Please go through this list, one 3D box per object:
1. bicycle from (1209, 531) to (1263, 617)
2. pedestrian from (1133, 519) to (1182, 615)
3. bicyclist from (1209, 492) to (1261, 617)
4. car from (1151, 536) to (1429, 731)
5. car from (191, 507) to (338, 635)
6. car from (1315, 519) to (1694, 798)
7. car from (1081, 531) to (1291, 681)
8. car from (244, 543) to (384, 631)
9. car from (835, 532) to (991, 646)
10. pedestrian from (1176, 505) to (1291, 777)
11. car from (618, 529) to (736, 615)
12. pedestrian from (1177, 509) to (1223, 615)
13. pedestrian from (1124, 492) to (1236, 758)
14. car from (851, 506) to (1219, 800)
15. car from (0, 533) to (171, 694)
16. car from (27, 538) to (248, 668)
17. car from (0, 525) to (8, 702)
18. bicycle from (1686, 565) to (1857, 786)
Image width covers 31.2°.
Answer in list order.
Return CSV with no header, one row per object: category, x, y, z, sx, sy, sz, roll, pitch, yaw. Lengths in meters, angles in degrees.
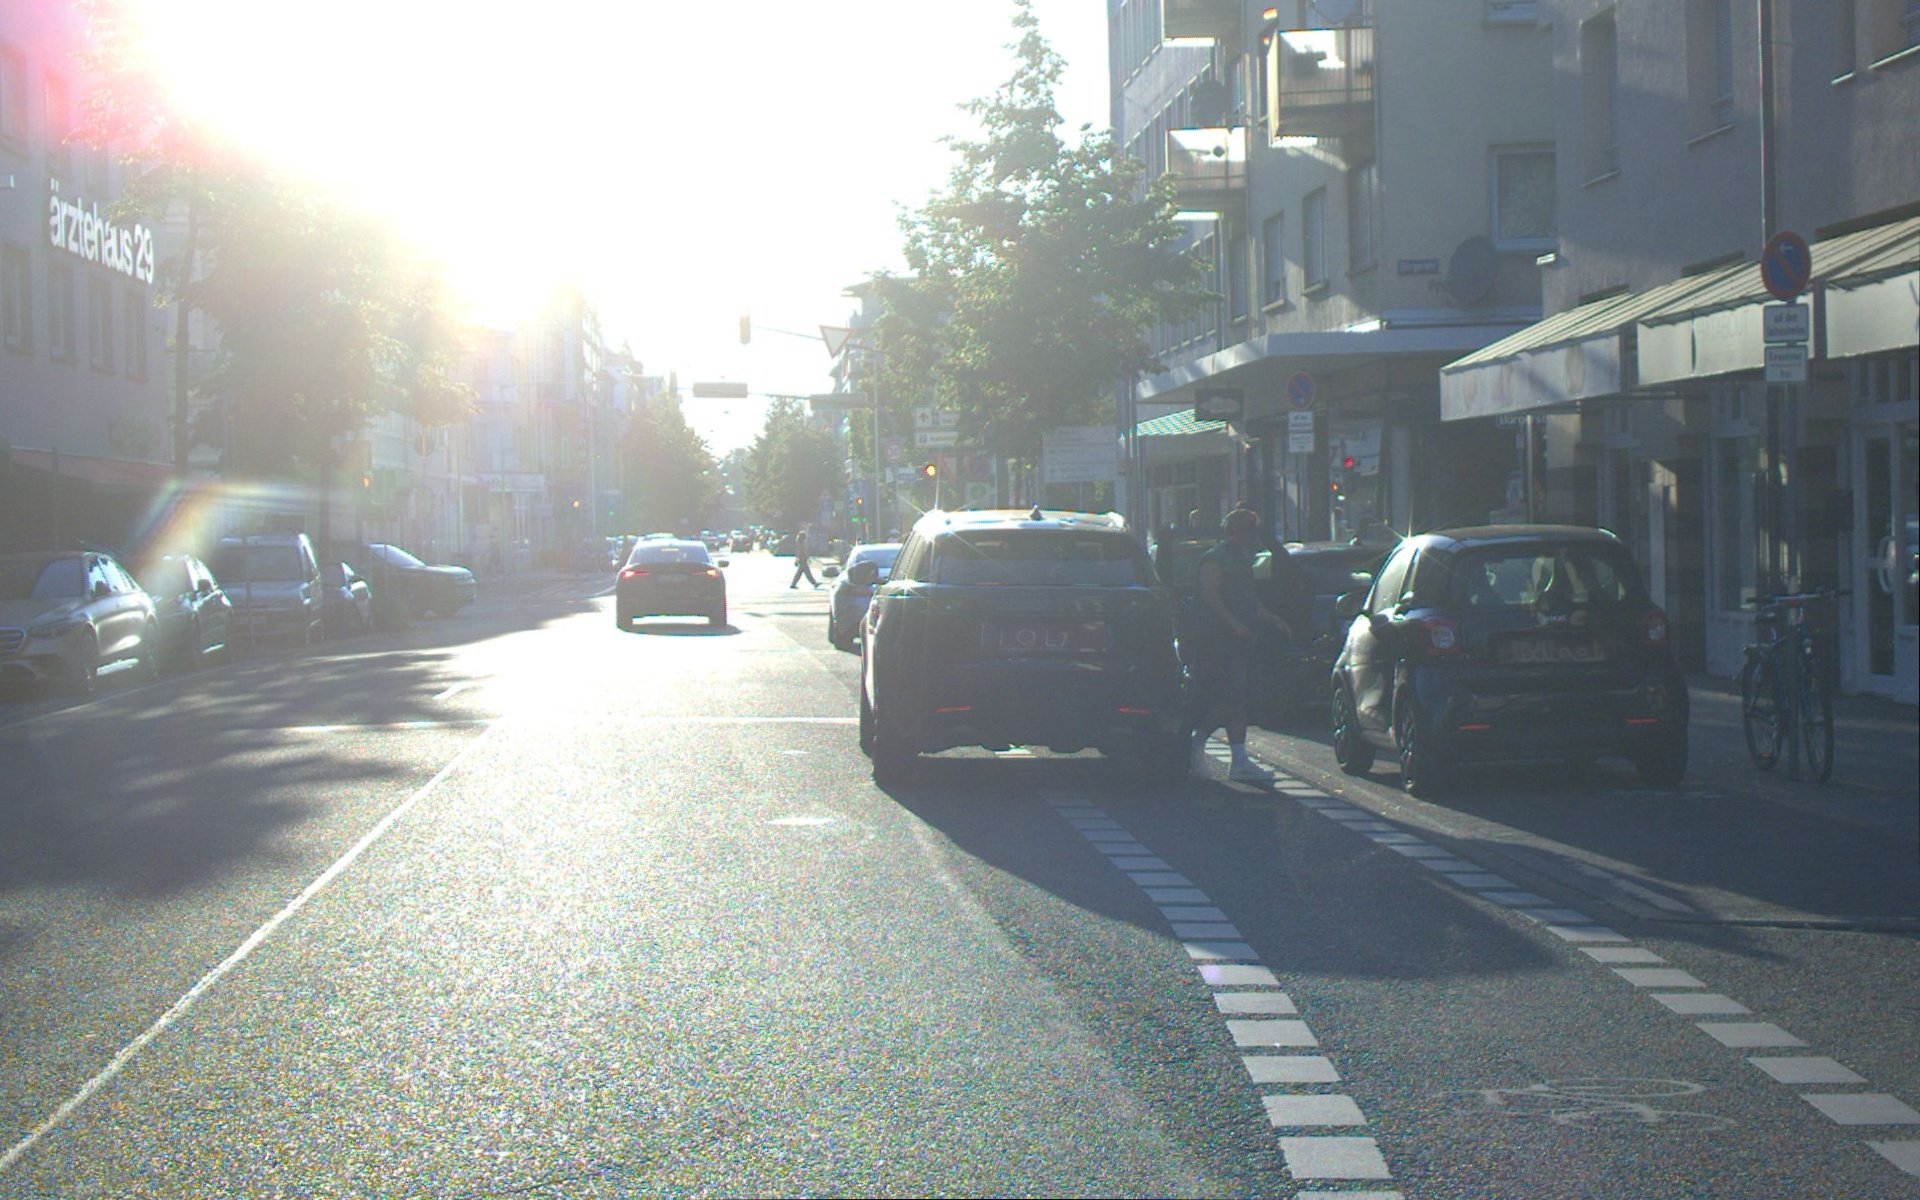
bicycle,3.820,-0.377,47.695,0.650,1.151,1.932,-1,1,2
pedestrian,3.239,-0.547,56.444,0.688,1.553,0.863,-1,1,-2
bicyclist,3.805,-0.632,47.636,0.650,1.696,1.095,-1,1,2
car,2.598,0.219,27.861,1.633,1.419,3.758,-2,1,-4
car,-10.556,-0.463,52.409,1.832,1.848,4.125,-1,1,-6
car,3.267,0.300,21.052,1.632,1.548,2.695,-2,2,-6
car,2.279,0.016,35.556,1.703,1.431,3.932,-1,1,-3
car,-10.965,-0.250,58.561,1.833,1.323,4.125,-2,2,-4
car,-0.690,-0.188,46.556,1.922,1.410,4.549,1,1,-3
pedestrian,1.706,0.247,21.483,0.441,1.659,0.565,-2,2,-28
car,-4.822,-0.504,59.027,1.883,1.410,4.326,0,1,-3
pedestrian,3.939,-0.623,56.506,0.688,1.715,0.716,-2,1,3
pedestrian,1.403,0.152,21.934,0.441,1.659,0.565,-2,2,-28
car,0.356,0.249,22.003,1.995,1.649,4.674,1,1,-3
car,-9.938,0.107,37.022,1.827,1.551,5.136,-3,2,-2
car,-10.198,-0.002,42.936,1.827,1.434,4.554,-3,1,-3
car,-9.845,0.157,30.225,1.827,1.804,5.350,-2,2,-5
bicycle,4.831,0.423,20.559,0.397,1.230,1.826,-2,1,-6
